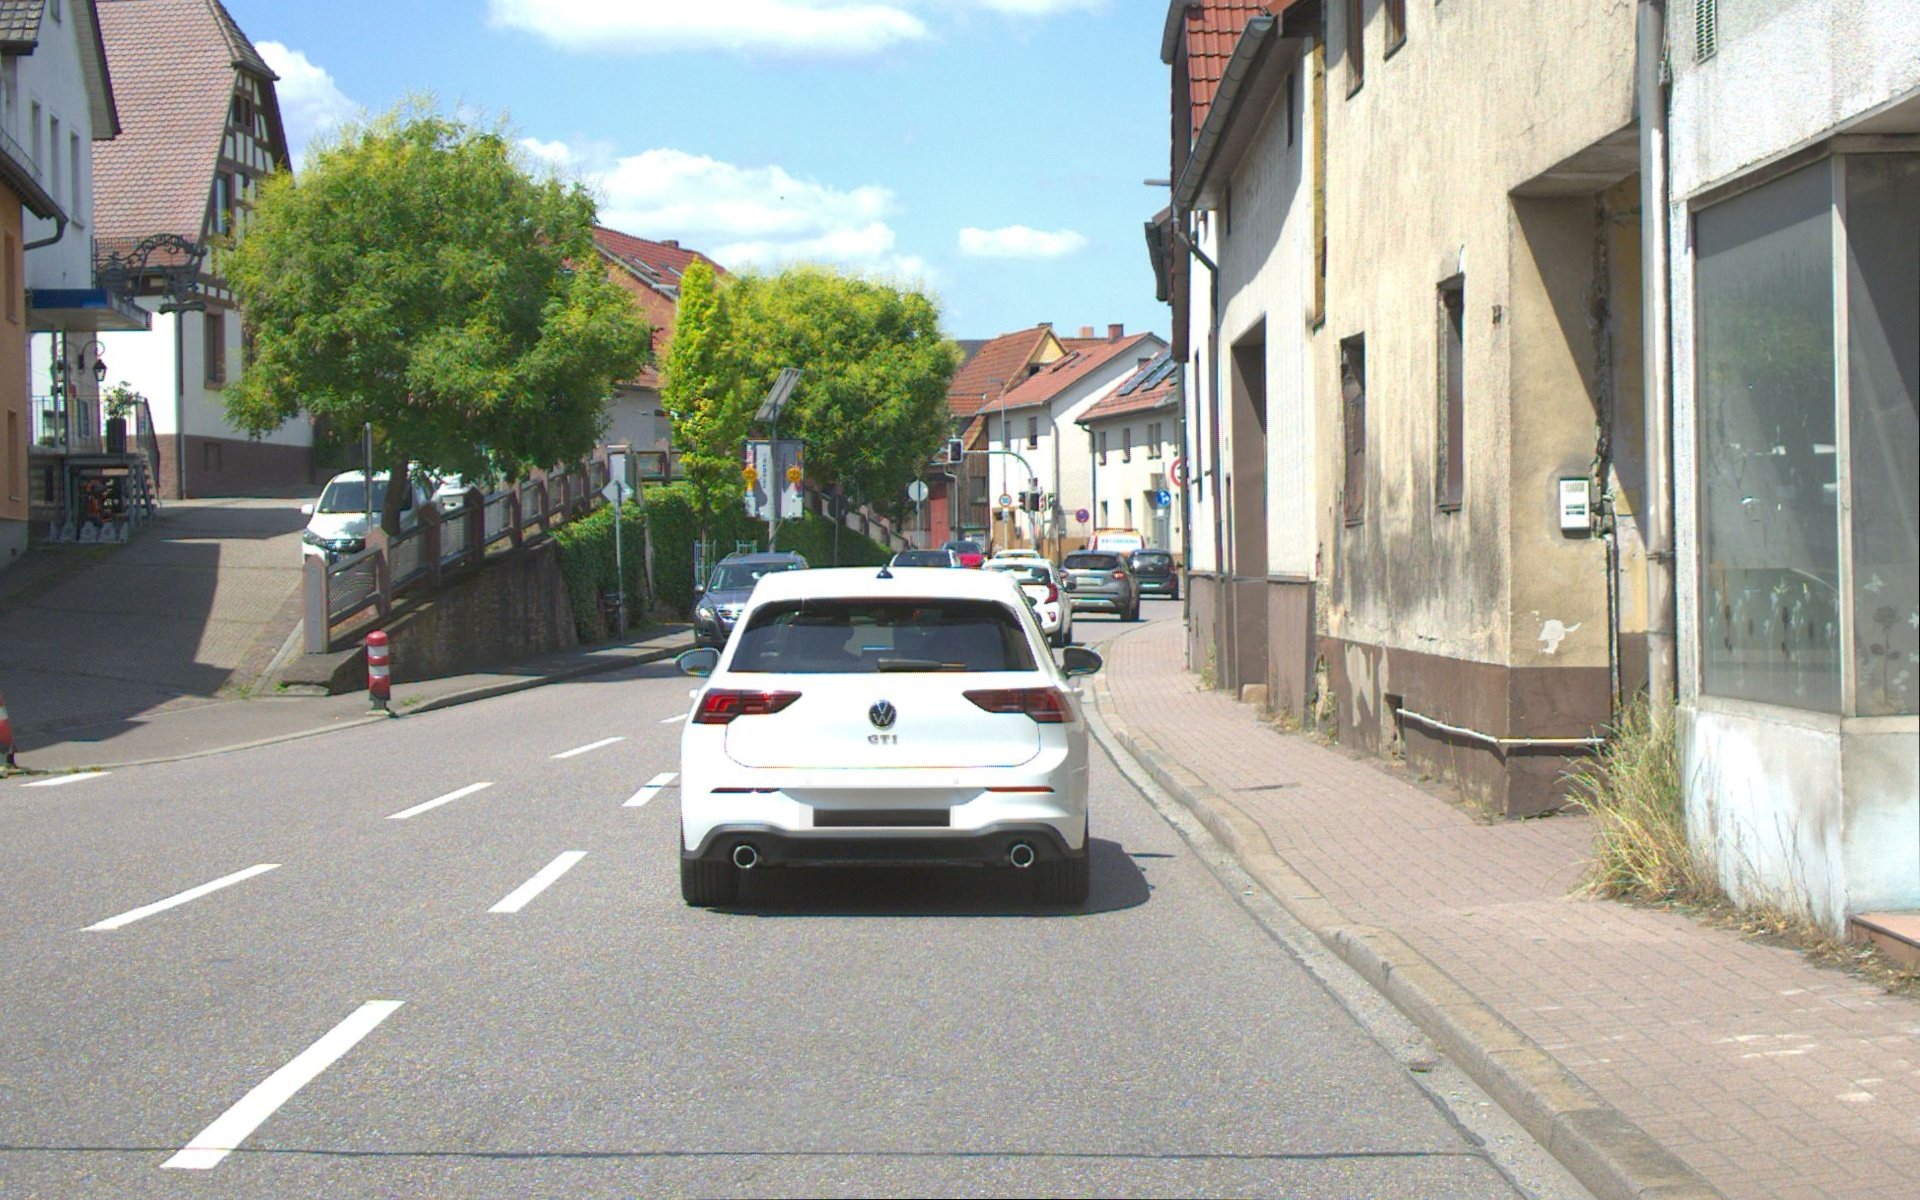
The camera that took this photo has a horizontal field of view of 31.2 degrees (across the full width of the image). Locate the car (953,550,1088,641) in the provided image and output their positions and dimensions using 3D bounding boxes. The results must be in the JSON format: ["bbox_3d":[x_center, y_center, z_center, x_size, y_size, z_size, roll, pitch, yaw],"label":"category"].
[{"bbox_3d":[1.060,-0.089,58.449,1.808,1.462,3.999,1,1,8],"label":"car"}]

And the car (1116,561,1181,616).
[{"bbox_3d":[5.519,-0.353,100.943,1.775,1.533,4.000,0,1,2],"label":"car"}]

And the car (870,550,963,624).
[{"bbox_3d":[-0.958,-0.319,78.016,1.842,1.574,4.445,-1,1,2],"label":"car"}]

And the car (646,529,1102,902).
[{"bbox_3d":[-0.305,0.444,15.844,1.808,1.462,4.000,1,1,1],"label":"car"}]

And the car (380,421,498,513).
[{"bbox_3d":[-9.358,-2.418,62.015,1.576,1.357,3.857,0,7,-1],"label":"car"}]

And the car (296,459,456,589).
[{"bbox_3d":[-8.437,-1.136,49.941,1.693,1.537,3.857,0,7,-1],"label":"car"}]

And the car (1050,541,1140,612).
[{"bbox_3d":[2.987,-0.544,76.814,1.775,1.533,4.000,0,1,-1],"label":"car"}]

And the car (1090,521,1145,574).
[{"bbox_3d":[5.326,-1.775,116.430,1.775,1.759,4.000,0,1,2],"label":"car"}]

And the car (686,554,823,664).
[{"bbox_3d":[-3.214,0.109,54.363,1.758,1.629,4.049,-1,1,2],"label":"car"}]
